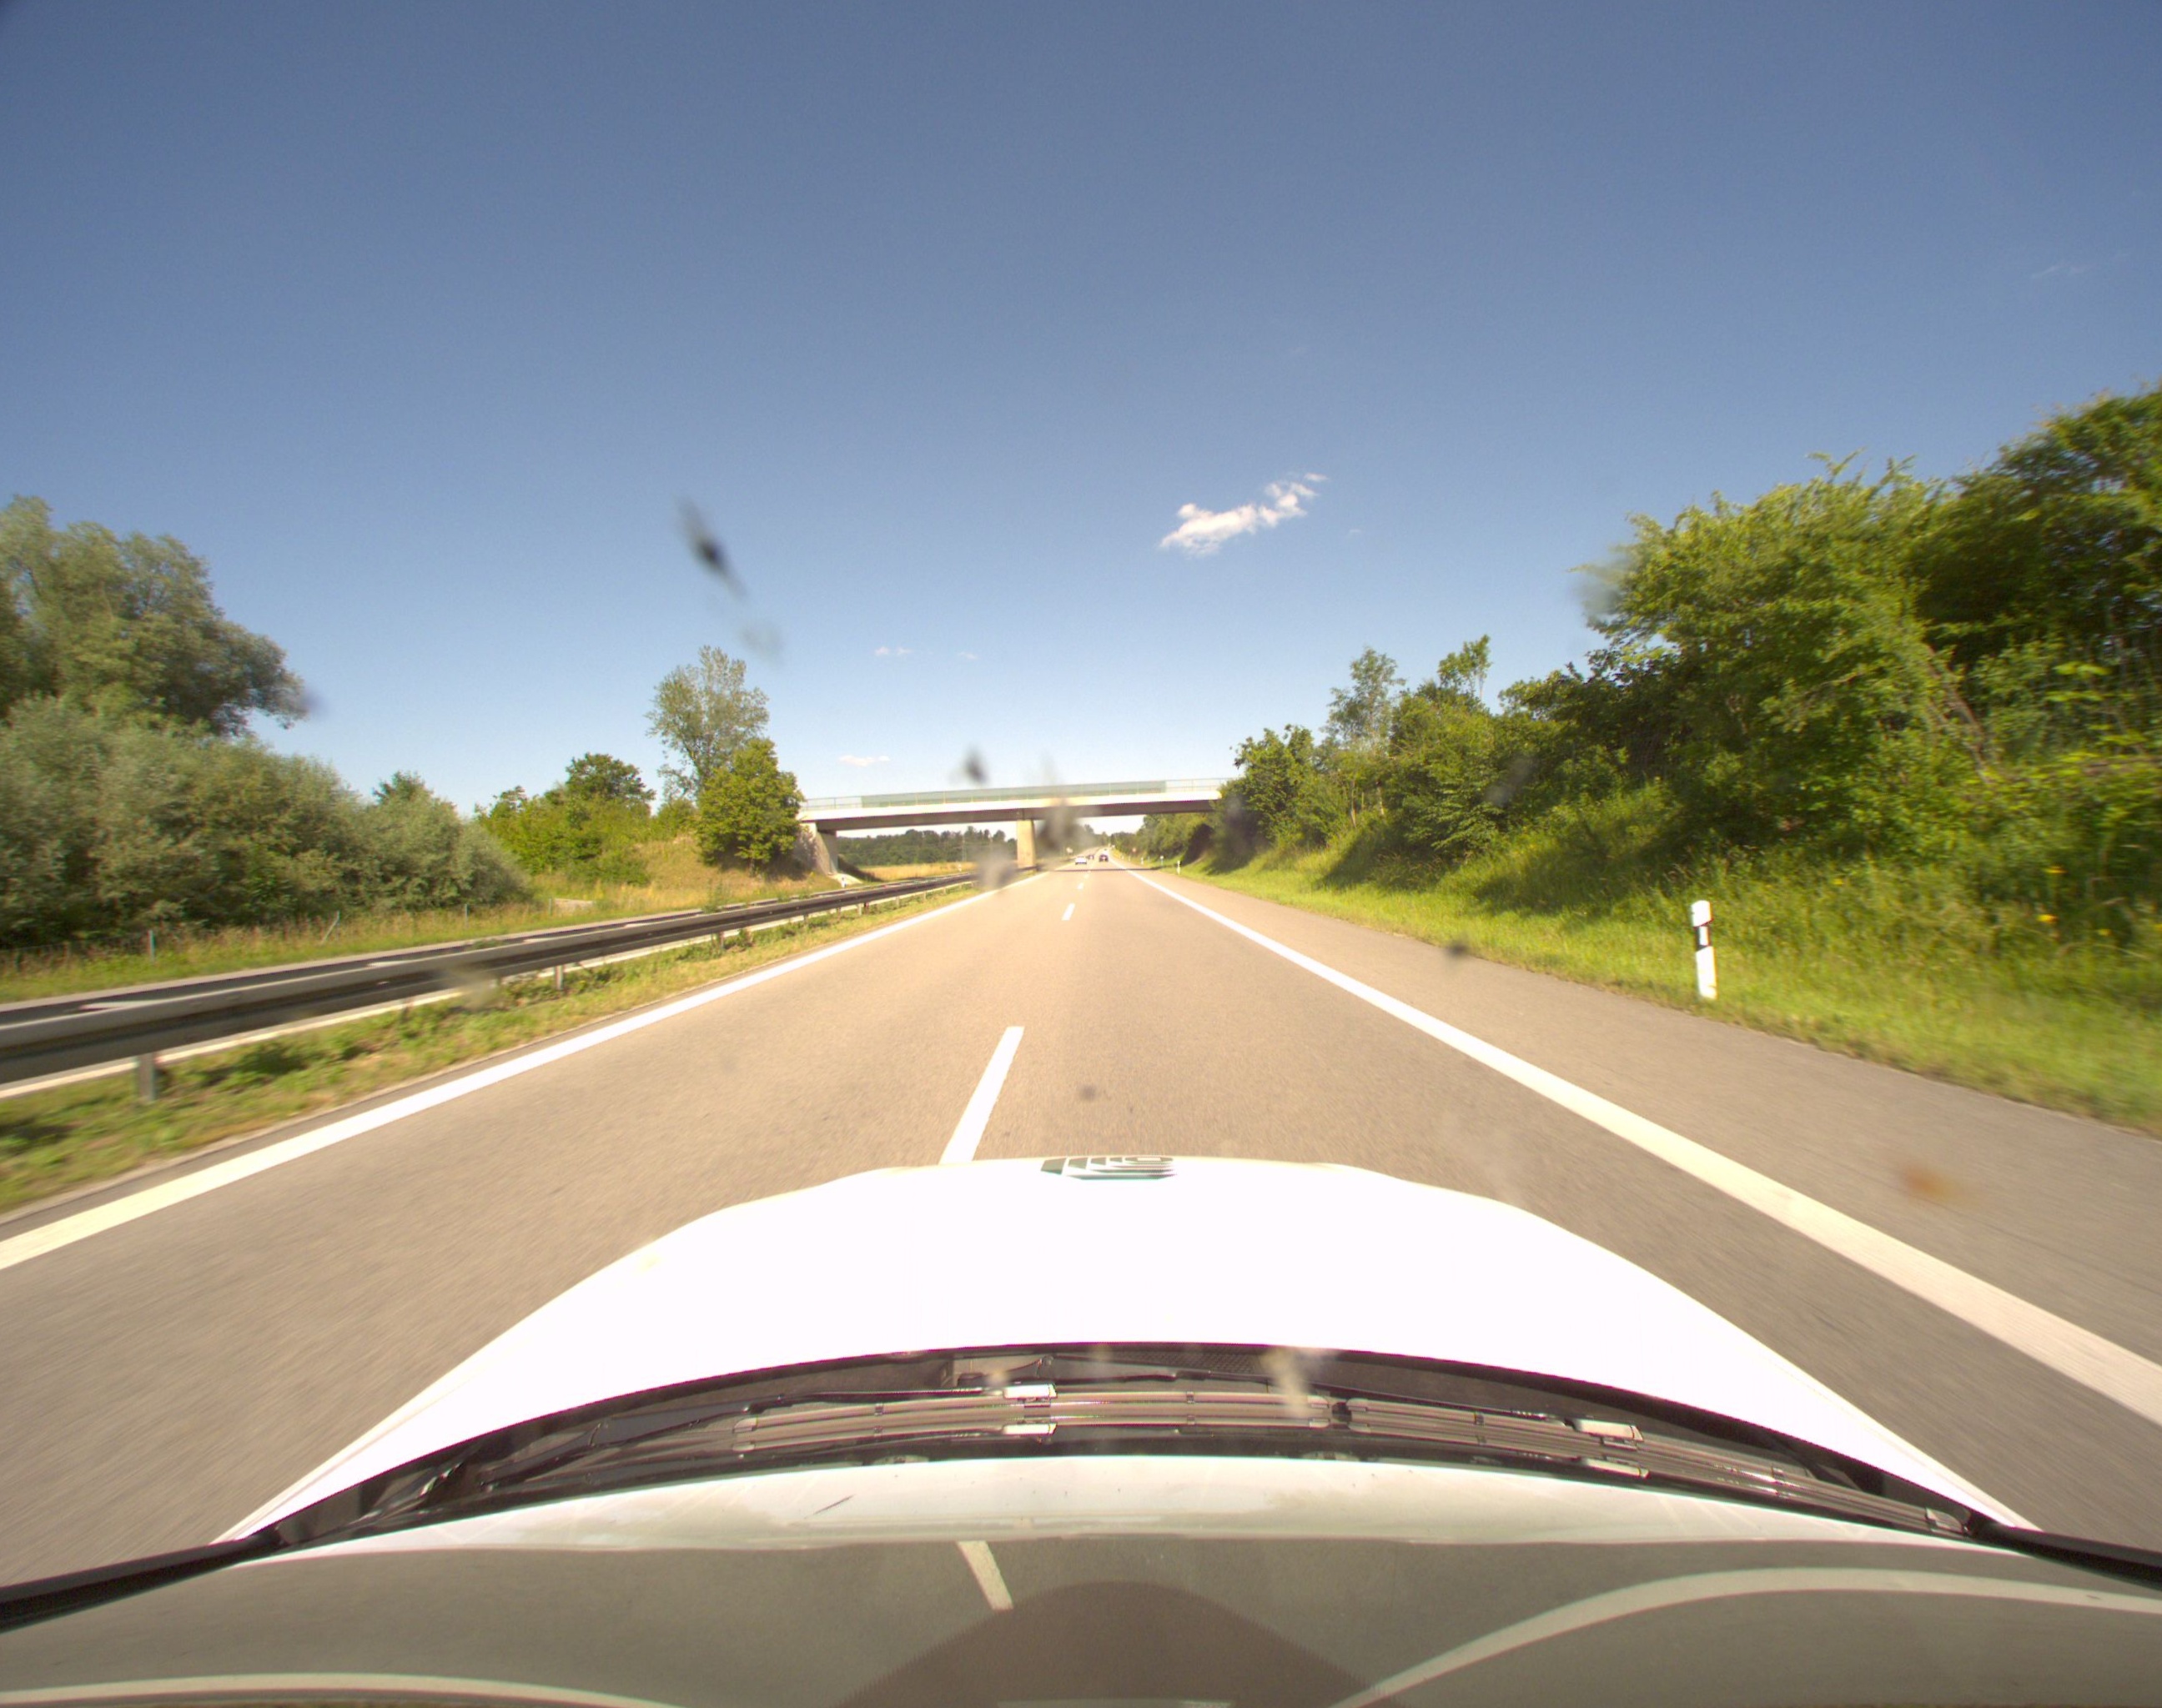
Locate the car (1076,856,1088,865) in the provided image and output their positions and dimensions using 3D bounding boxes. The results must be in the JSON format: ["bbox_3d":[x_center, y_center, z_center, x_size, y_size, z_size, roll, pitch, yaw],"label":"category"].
[{"bbox_3d":[0.148,1.013,128.419,1.836,1.415,4.000,0,0,1],"label":"car"}]

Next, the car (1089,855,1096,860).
[{"bbox_3d":[3.315,0.890,236.658,1.836,1.436,4.000,0,0,1],"label":"car"}]

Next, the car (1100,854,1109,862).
[{"bbox_3d":[4.721,0.867,164.684,1.836,1.520,4.000,0,0,1],"label":"car"}]
